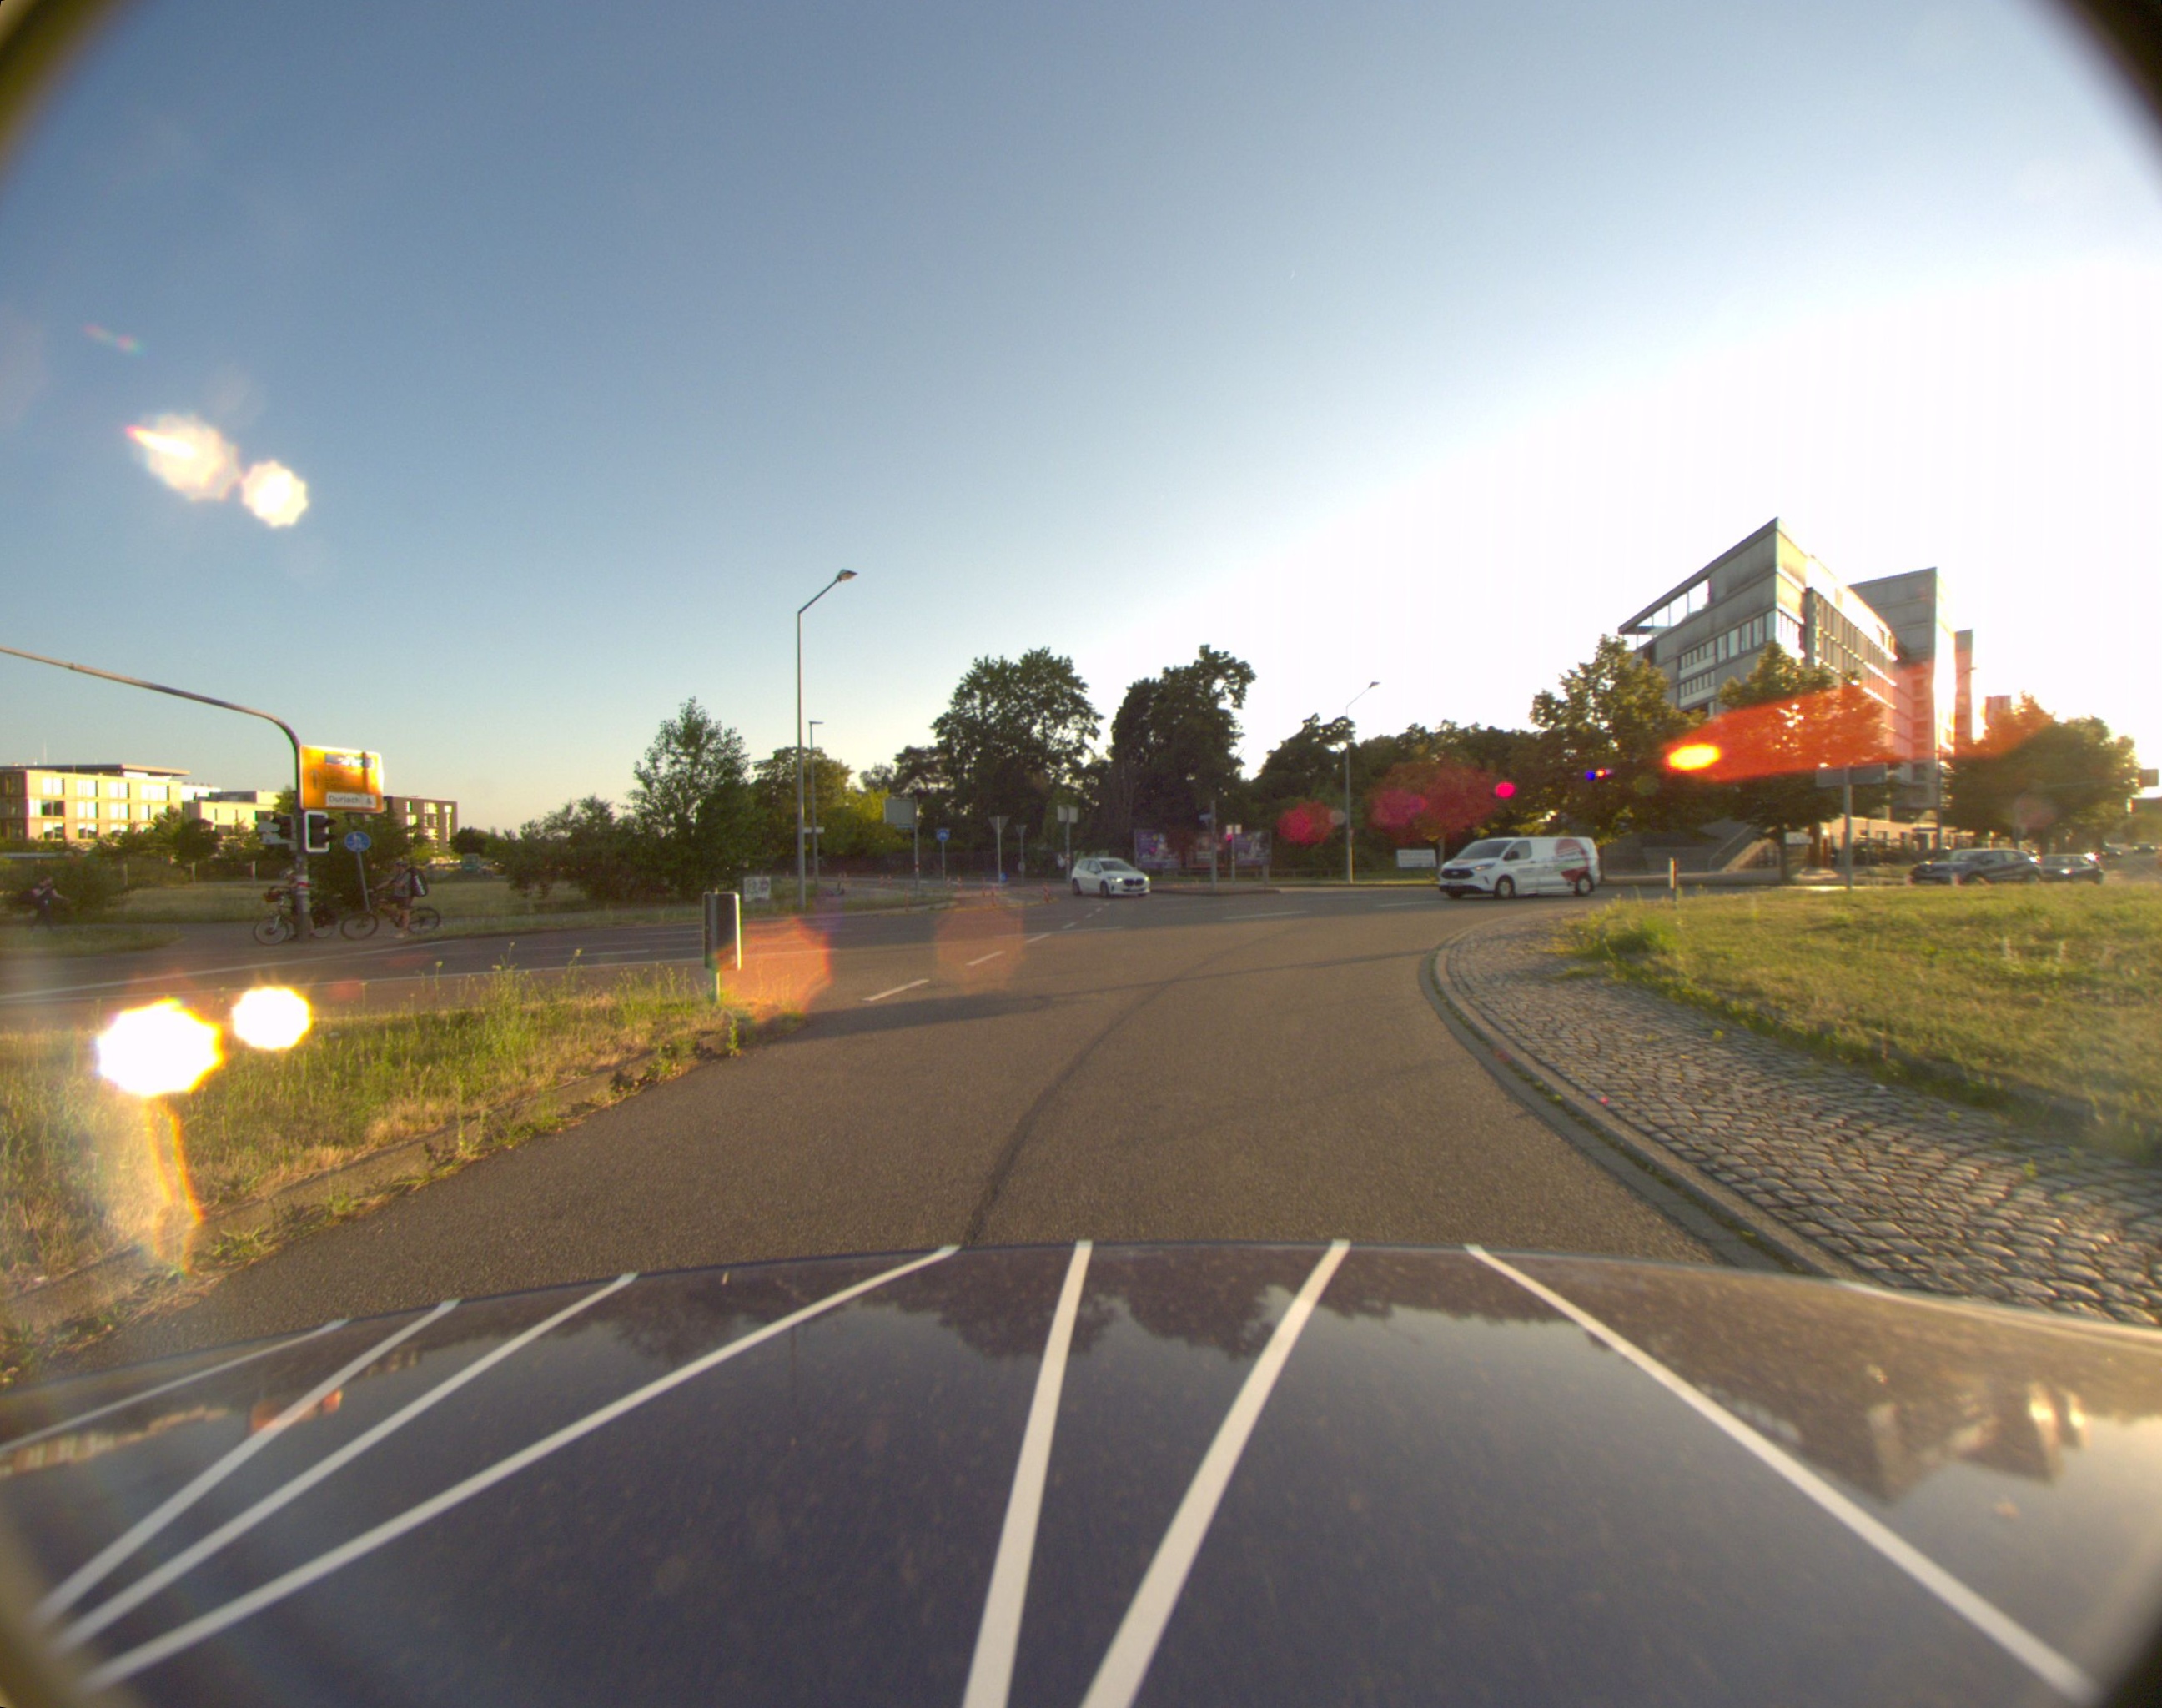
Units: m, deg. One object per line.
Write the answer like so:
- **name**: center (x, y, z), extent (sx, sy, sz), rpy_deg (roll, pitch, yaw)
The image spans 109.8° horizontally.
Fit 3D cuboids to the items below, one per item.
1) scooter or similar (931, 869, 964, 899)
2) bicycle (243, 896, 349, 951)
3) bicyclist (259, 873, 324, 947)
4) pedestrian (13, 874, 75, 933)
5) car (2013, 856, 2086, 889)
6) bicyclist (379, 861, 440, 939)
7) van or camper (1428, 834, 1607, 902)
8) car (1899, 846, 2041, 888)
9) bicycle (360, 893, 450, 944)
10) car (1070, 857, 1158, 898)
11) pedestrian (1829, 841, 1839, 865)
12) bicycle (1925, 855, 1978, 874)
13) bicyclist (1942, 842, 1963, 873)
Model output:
- **scooter or similar**: center (-5.540, 1.240, 31.631), extent (0.441, 1.156, 1.386), rpy_deg (0, 0, 39)
- **bicycle**: center (-19.020, 1.662, 18.467), extent (0.456, 1.079, 1.928), rpy_deg (-1, 3, 2)
- **bicyclist**: center (-19.040, 1.337, 18.334), extent (0.641, 1.693, 0.770), rpy_deg (-1, 3, 1)
- **pedestrian**: center (-28.560, 1.350, 20.930), extent (0.567, 1.541, 0.797), rpy_deg (-1, 1, 4)
- **car**: center (46.439, 0.849, 36.425), extent (4.006, 1.431, 1.741), rpy_deg (-1, 0, -32)
- **bicyclist**: center (-17.004, 1.149, 19.261), extent (0.641, 1.887, 0.910), rpy_deg (-1, 2, 1)
- **van or camper**: center (13.988, 0.392, 24.338), extent (5.334, 1.946, 1.996), rpy_deg (-1, 1, -20)
- **car**: center (34.990, 0.502, 29.943), extent (4.000, 1.527, 1.744), rpy_deg (-1, 0, -8)
- **bicycle**: center (-17.077, 1.607, 19.252), extent (0.456, 1.079, 1.928), rpy_deg (-1, 2, 2)
- **car**: center (1.270, 0.903, 31.033), extent (1.893, 1.549, 4.087), rpy_deg (-1, 0, -25)
- **pedestrian**: center (63.275, -0.070, 63.829), extent (0.528, 2.002, 0.537), rpy_deg (-1, 0, -37)
- **bicycle**: center (47.202, 0.560, 41.233), extent (1.858, 1.016, 0.308), rpy_deg (-1, 0, 44)
- **bicyclist**: center (47.410, 0.189, 41.338), extent (0.682, 1.638, 0.685), rpy_deg (0, 0, 44)
